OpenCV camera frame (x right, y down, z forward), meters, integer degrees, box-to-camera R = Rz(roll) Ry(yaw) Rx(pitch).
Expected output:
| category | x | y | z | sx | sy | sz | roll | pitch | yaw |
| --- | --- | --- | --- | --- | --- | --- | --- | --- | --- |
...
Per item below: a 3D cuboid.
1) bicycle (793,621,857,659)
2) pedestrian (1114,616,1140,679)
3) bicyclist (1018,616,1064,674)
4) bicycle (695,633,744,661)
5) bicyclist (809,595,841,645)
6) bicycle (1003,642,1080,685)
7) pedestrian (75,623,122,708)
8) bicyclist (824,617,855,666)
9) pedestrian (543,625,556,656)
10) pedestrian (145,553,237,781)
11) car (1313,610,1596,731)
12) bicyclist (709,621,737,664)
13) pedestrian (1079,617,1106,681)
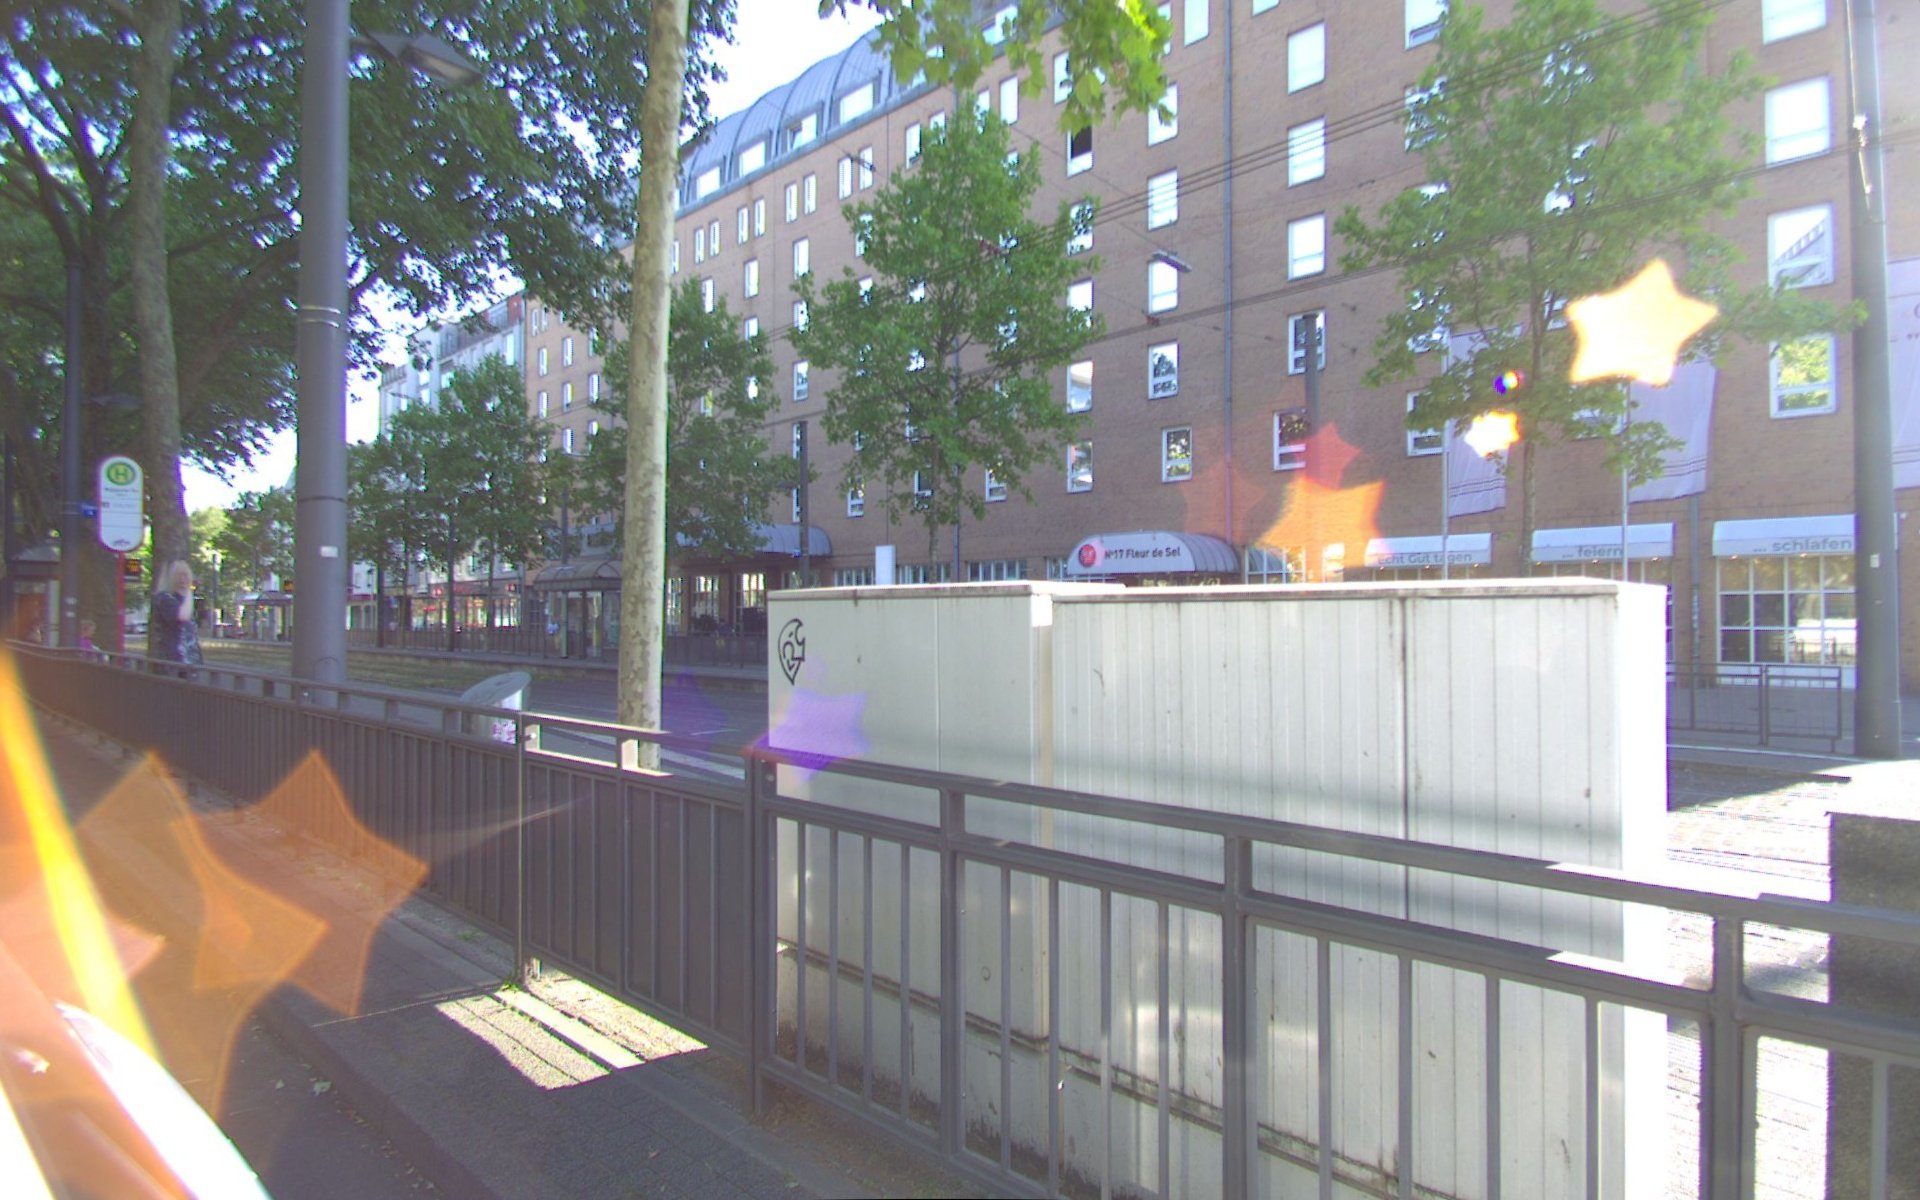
| category | x | y | z | sx | sy | sz | roll | pitch | yaw |
| --- | --- | --- | --- | --- | --- | --- | --- | --- | --- |
| bicycle | -4.385 | 1.302 | 32.780 | 2.105 | 1.151 | 0.679 | -4 | -4 | 34 |
| pedestrian | 4.684 | 1.327 | 28.415 | 0.437 | 1.748 | 0.545 | 1 | -2 | -42 |
| bicyclist | 2.135 | 1.174 | 26.824 | 1.031 | 1.485 | 0.647 | -1 | -1 | 36 |
| bicycle | -9.025 | 1.754 | 37.941 | 1.897 | 1.006 | 0.688 | -1 | -2 | 34 |
| bicyclist | -4.384 | 0.650 | 32.803 | 0.756 | 1.572 | 0.676 | -4 | -4 | 33 |
| bicycle | 2.137 | 1.658 | 26.802 | 2.009 | 1.058 | 0.646 | -1 | -1 | 37 |
| pedestrian | -13.897 | 1.039 | 16.337 | 0.534 | 1.327 | 0.525 | -1 | 0 | -37 |
| bicyclist | -3.980 | 1.357 | 33.482 | 0.756 | 1.586 | 0.655 | -1 | -2 | 34 |
| pedestrian | -23.468 | 2.286 | 57.817 | 0.574 | 1.748 | 0.497 | -2 | -2 | 43 |
| pedestrian | -6.523 | 0.544 | 8.588 | 0.524 | 1.848 | 0.535 | -1 | 0 | 45 |
| car | 8.285 | 1.094 | 17.094 | 3.994 | 1.776 | 1.850 | -1 | 0 | 38 |
| bicyclist | -8.865 | 1.581 | 37.829 | 0.756 | 1.581 | 0.655 | -1 | -2 | 34 |
| pedestrian | 3.643 | 1.335 | 27.833 | 0.472 | 1.748 | 0.545 | 1 | -2 | -42 |
